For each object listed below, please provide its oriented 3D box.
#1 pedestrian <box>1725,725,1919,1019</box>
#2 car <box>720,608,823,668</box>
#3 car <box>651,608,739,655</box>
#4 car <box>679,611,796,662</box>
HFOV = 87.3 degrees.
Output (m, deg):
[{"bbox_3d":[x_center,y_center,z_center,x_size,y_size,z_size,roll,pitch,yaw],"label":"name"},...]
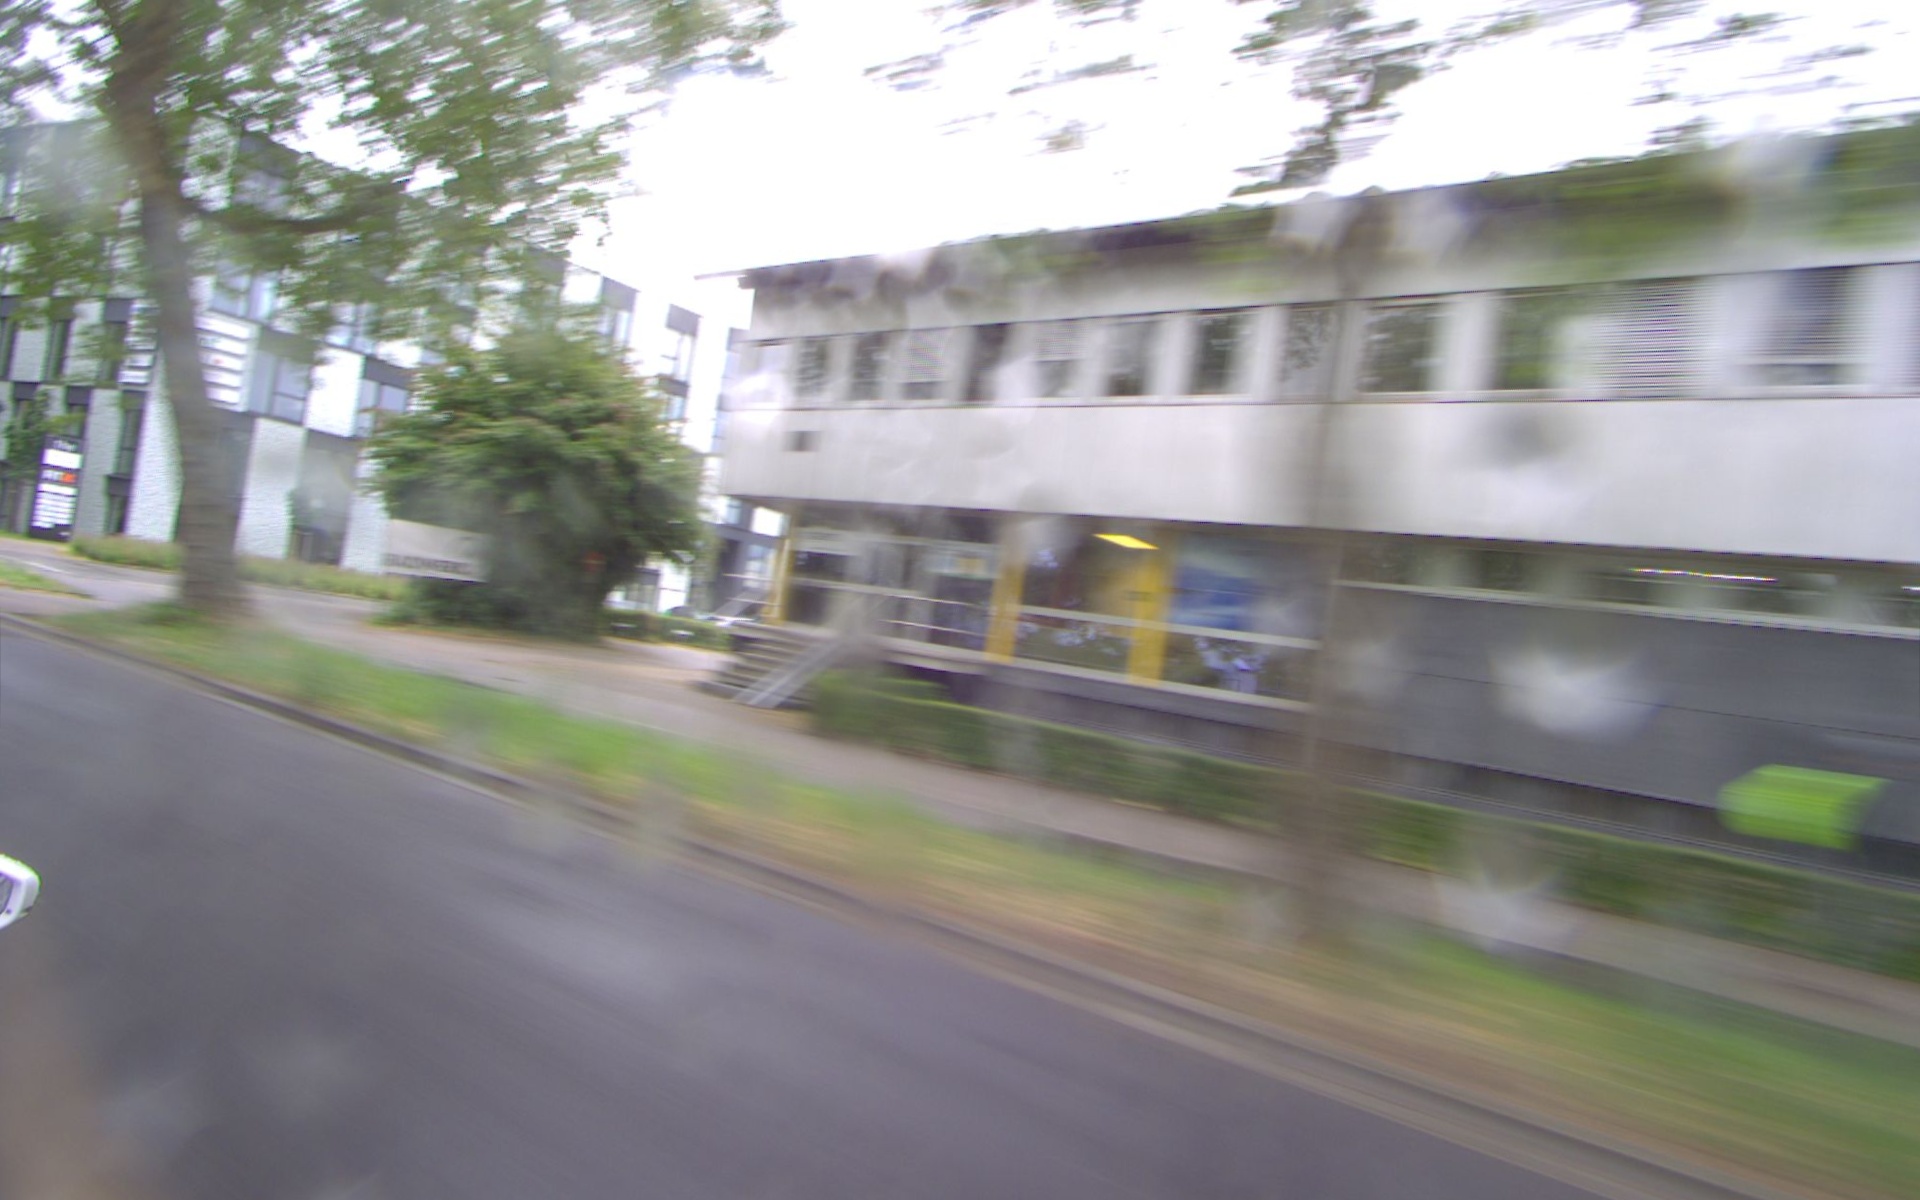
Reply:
[{"bbox_3d":[5.951,1.801,6.953,0.886,1.714,0.831,7,-2,38],"label":"pedestrian"},{"bbox_3d":[-6.657,1.290,35.216,1.878,1.547,4.116,10,-3,-34],"label":"car"},{"bbox_3d":[-13.146,1.514,49.689,4.667,1.634,1.886,6,-3,44],"label":"car"},{"bbox_3d":[-9.137,1.535,41.544,1.870,1.545,4.287,2,-7,44],"label":"car"}]
